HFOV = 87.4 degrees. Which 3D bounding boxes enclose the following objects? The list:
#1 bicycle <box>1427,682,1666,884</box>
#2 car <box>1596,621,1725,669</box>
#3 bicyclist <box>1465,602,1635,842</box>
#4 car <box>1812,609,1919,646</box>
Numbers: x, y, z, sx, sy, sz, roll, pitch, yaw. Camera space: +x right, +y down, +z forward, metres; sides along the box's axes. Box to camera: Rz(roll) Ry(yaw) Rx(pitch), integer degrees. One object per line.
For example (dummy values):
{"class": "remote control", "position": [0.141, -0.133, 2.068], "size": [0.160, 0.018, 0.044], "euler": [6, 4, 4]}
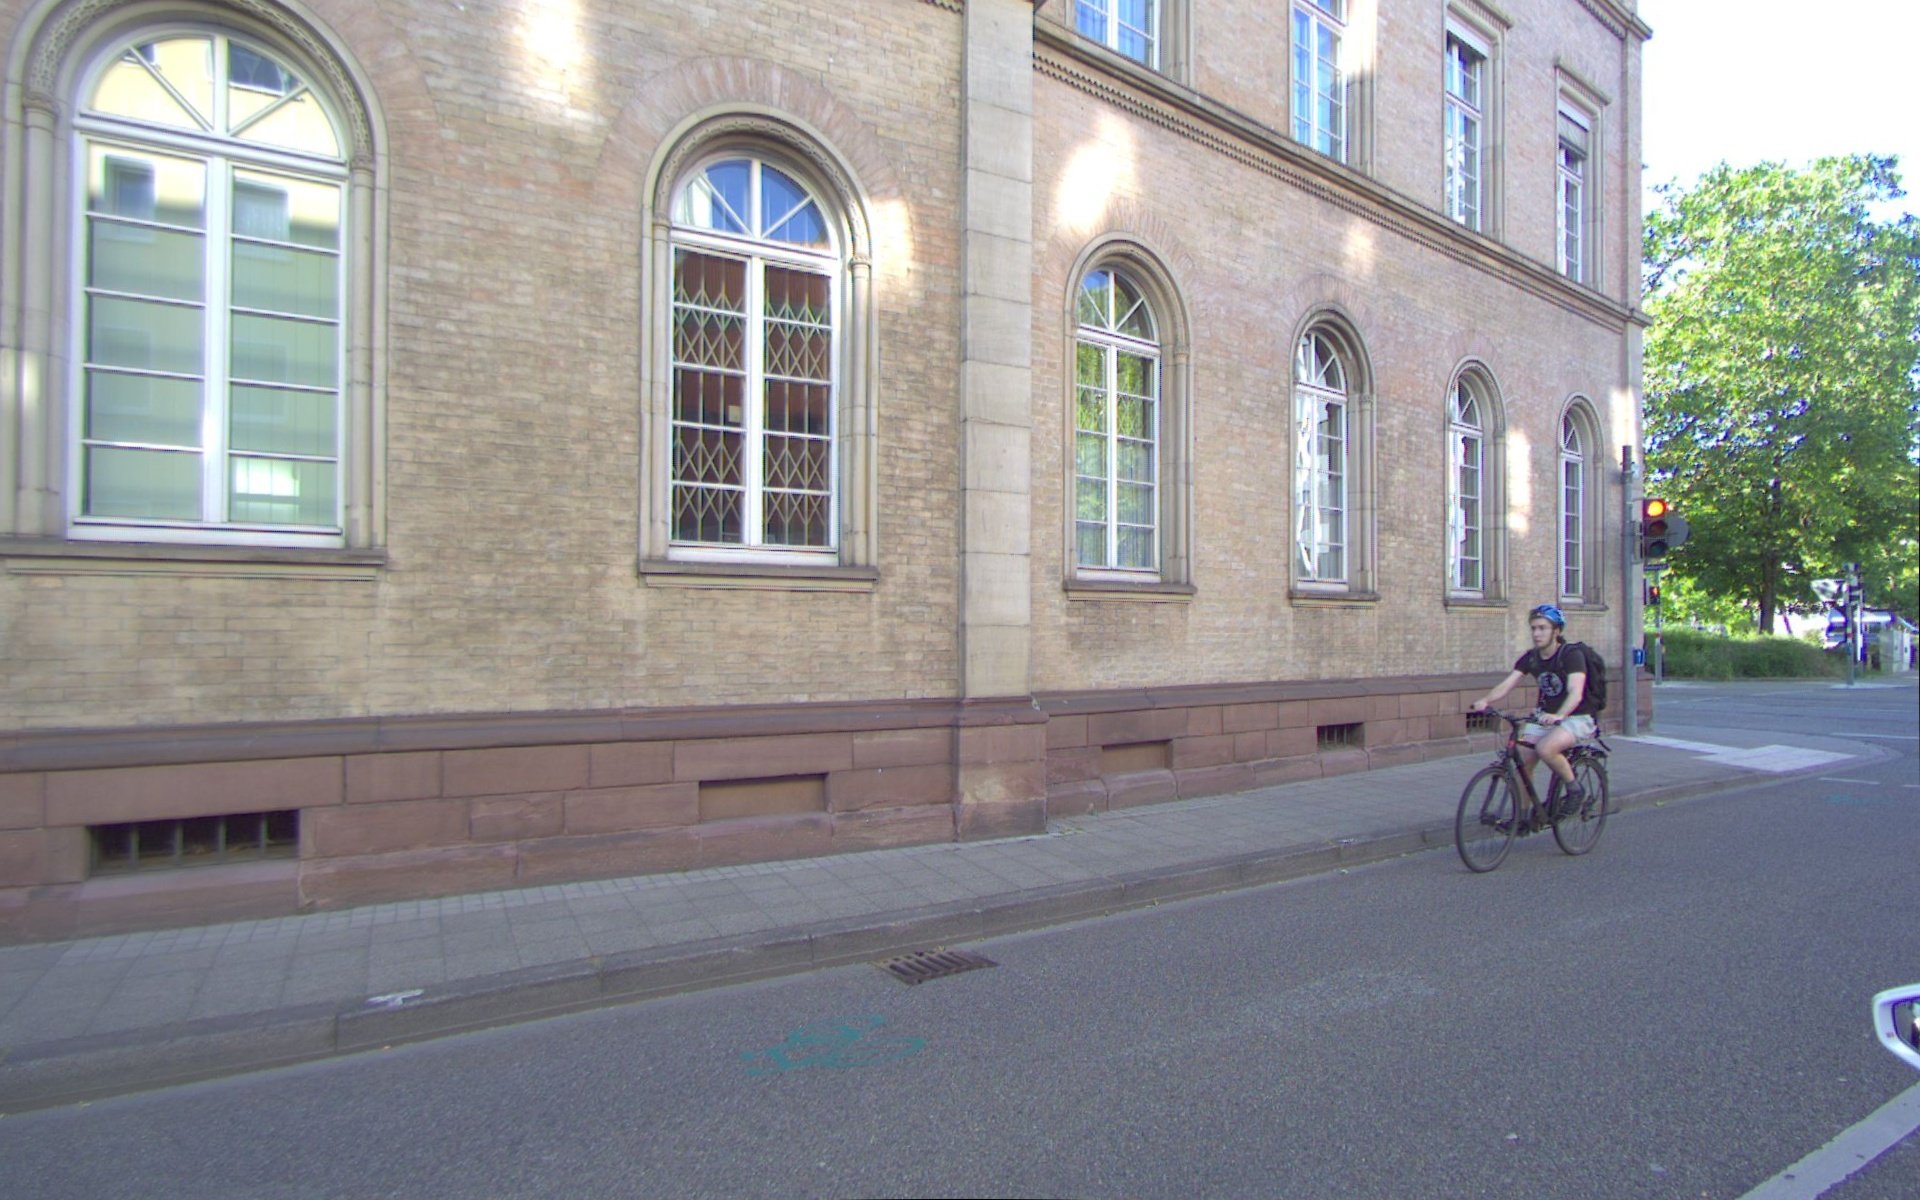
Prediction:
{"class": "bicycle", "position": [4.115, 1.194, 6.998], "size": [1.947, 1.167, 0.587], "euler": [1, -1, -32]}
{"class": "car", "position": [24.372, 1.530, 35.025], "size": [1.636, 1.476, 3.382], "euler": [2, 0, -39]}
{"class": "bicyclist", "position": [4.119, 0.799, 7.015], "size": [1.066, 1.547, 0.587], "euler": [1, -1, -31]}
{"class": "car", "position": [53.491, 1.609, 59.389], "size": [1.983, 2.040, 4.409], "euler": [2, 0, -38]}
